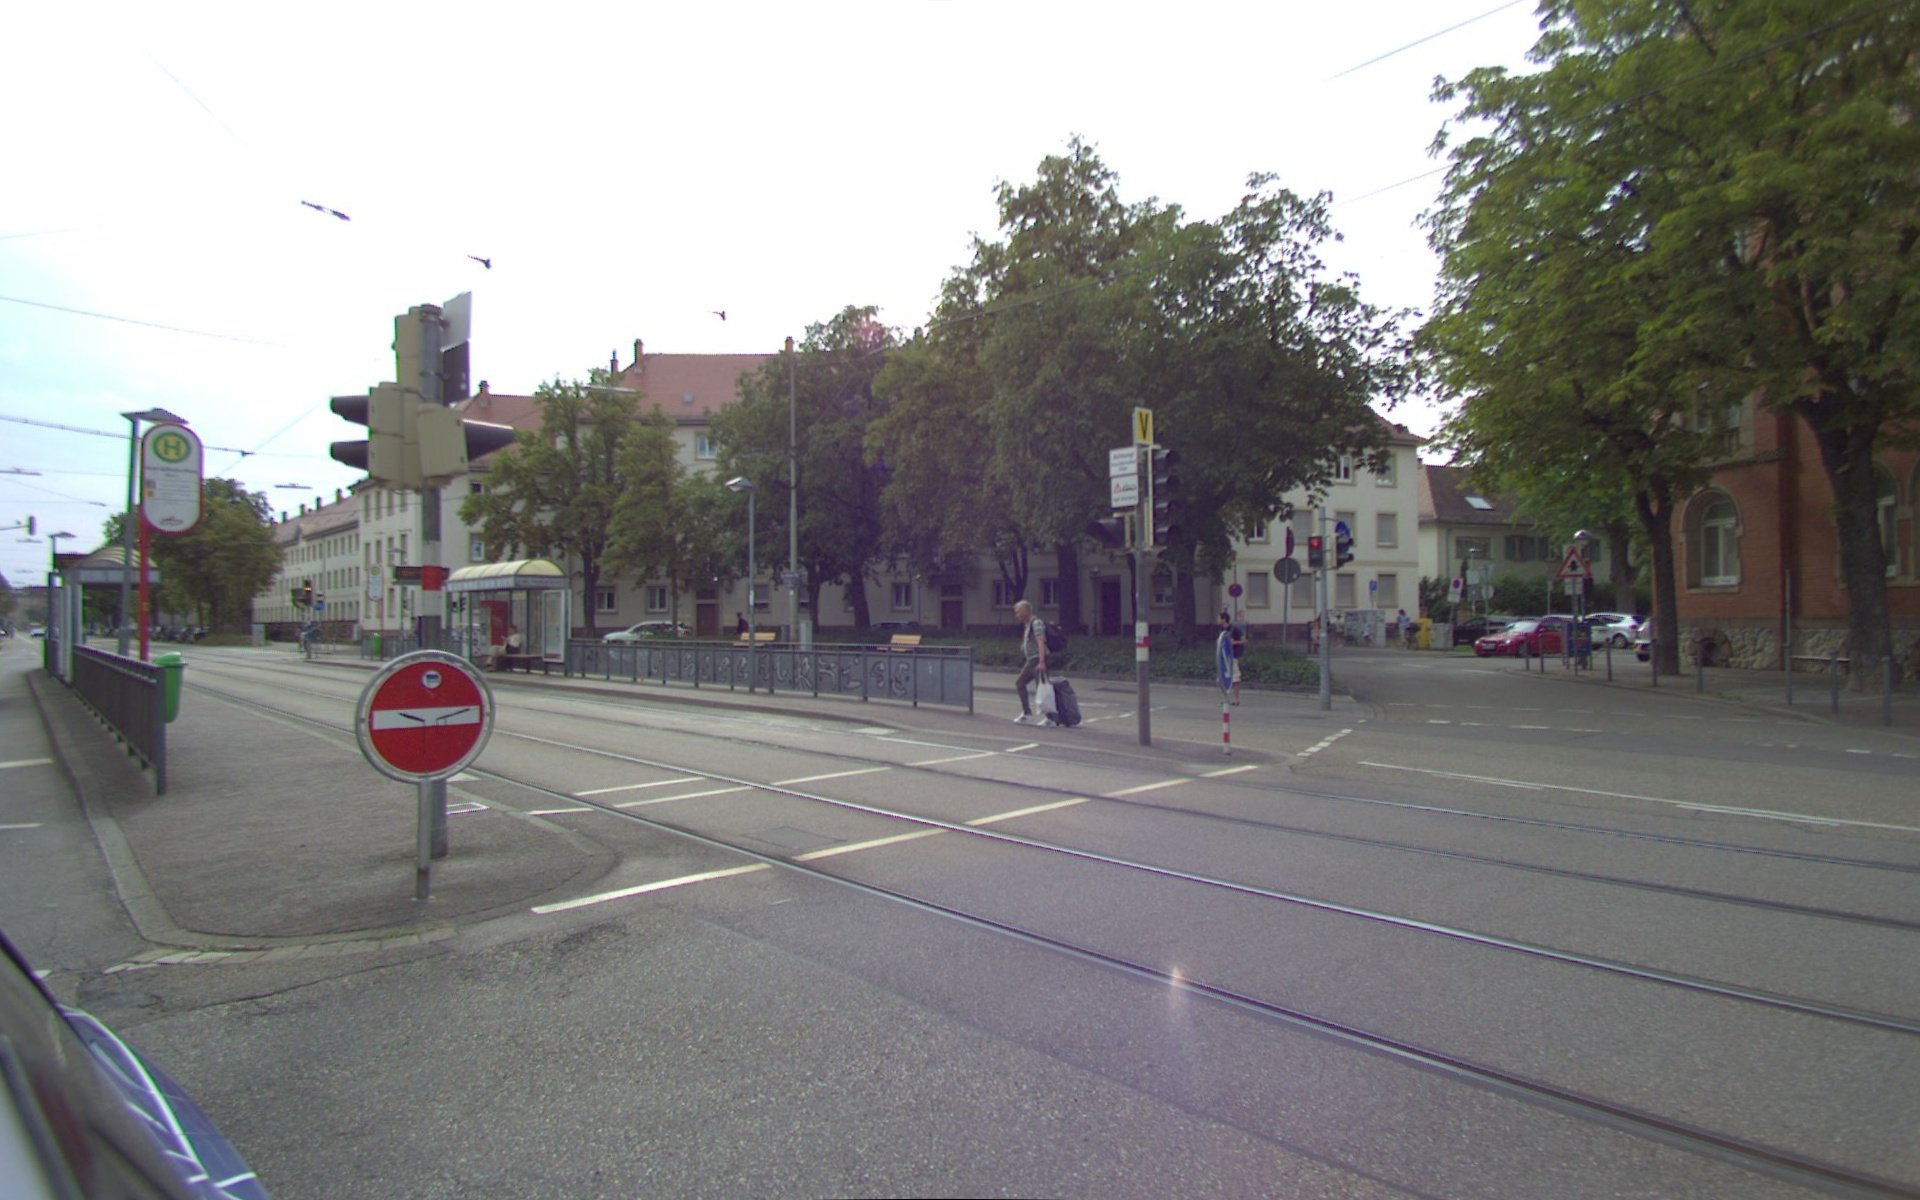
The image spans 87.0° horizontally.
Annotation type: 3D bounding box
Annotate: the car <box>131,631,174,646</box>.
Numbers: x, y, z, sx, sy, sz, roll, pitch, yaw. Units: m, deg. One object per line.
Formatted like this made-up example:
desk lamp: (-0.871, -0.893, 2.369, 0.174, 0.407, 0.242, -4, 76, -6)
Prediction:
car: (-98.316, 4.676, 123.217, 3.938, 1.739, 1.879, -1, -1, -41)

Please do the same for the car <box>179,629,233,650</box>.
car: (-70.382, 3.664, 94.465, 3.938, 1.739, 1.879, -1, -1, -41)

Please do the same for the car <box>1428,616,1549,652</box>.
car: (22.205, 1.413, 42.699, 1.877, 1.415, 4.325, 0, -1, -22)

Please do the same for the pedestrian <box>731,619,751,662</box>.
pedestrian: (-10.464, 1.922, 48.410, 0.851, 2.029, 0.766, -1, -1, -9)

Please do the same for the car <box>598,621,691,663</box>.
car: (-15.525, 2.050, 49.976, 4.132, 1.879, 1.857, -1, -1, -9)

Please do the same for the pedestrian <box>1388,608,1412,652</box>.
pedestrian: (18.742, 1.256, 43.116, 0.827, 1.840, 0.660, -2, -1, 27)

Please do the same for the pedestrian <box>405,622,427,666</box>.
pedestrian: (-22.809, 1.838, 42.442, 0.463, 1.848, 0.650, -2, -1, 33)

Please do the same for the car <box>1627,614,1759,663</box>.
car: (24.031, 1.228, 33.165, 3.930, 1.484, 1.709, 0, -1, -24)

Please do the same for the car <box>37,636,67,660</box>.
car: (-83.224, 4.348, 92.737, 1.969, 2.029, 4.005, -1, -1, -42)

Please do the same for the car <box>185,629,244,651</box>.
car: (-64.334, 3.437, 87.323, 3.938, 1.739, 1.879, -1, -1, -41)

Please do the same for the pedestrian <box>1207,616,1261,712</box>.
pedestrian: (4.992, 1.141, 18.440, 0.712, 1.703, 0.645, -2, -2, 42)

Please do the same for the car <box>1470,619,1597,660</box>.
car: (21.122, 1.431, 37.297, 4.237, 1.415, 1.709, 0, -1, -21)

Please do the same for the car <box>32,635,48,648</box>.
car: (-150.743, 6.826, 165.811, 1.969, 2.029, 4.005, -1, -1, -42)

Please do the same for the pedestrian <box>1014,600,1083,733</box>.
pedestrian: (1.167, 0.878, 13.475, 0.803, 1.703, 0.685, 1, -4, -3)

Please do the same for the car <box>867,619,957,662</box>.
car: (-2.227, 1.864, 46.667, 3.743, 1.879, 1.834, -2, -1, 31)

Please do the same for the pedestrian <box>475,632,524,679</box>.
pedestrian: (-12.713, 1.514, 27.949, 0.724, 1.246, 1.018, -2, -1, 44)

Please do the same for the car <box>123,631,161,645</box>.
car: (-109.842, 5.101, 135.905, 3.938, 1.739, 1.879, -1, -1, -41)

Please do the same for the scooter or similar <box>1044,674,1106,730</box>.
scooter or similar: (1.575, 1.399, 13.919, 0.659, 0.718, 0.605, 3, -3, -13)

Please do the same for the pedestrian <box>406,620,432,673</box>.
pedestrian: (-18.066, 1.541, 33.803, 0.619, 1.716, 0.580, -2, -1, 42)

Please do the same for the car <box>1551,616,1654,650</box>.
car: (28.215, 1.444, 44.443, 3.931, 1.415, 1.709, 0, -1, -20)

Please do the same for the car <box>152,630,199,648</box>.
car: (-84.847, 4.189, 109.436, 3.938, 1.739, 1.879, -1, -1, -41)

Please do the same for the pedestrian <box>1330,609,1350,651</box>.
pedestrian: (16.822, 1.323, 44.805, 0.543, 1.840, 0.590, -1, -1, -24)

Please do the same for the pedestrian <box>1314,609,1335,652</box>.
pedestrian: (16.029, 1.342, 44.476, 0.543, 1.840, 0.590, -1, -1, -24)
